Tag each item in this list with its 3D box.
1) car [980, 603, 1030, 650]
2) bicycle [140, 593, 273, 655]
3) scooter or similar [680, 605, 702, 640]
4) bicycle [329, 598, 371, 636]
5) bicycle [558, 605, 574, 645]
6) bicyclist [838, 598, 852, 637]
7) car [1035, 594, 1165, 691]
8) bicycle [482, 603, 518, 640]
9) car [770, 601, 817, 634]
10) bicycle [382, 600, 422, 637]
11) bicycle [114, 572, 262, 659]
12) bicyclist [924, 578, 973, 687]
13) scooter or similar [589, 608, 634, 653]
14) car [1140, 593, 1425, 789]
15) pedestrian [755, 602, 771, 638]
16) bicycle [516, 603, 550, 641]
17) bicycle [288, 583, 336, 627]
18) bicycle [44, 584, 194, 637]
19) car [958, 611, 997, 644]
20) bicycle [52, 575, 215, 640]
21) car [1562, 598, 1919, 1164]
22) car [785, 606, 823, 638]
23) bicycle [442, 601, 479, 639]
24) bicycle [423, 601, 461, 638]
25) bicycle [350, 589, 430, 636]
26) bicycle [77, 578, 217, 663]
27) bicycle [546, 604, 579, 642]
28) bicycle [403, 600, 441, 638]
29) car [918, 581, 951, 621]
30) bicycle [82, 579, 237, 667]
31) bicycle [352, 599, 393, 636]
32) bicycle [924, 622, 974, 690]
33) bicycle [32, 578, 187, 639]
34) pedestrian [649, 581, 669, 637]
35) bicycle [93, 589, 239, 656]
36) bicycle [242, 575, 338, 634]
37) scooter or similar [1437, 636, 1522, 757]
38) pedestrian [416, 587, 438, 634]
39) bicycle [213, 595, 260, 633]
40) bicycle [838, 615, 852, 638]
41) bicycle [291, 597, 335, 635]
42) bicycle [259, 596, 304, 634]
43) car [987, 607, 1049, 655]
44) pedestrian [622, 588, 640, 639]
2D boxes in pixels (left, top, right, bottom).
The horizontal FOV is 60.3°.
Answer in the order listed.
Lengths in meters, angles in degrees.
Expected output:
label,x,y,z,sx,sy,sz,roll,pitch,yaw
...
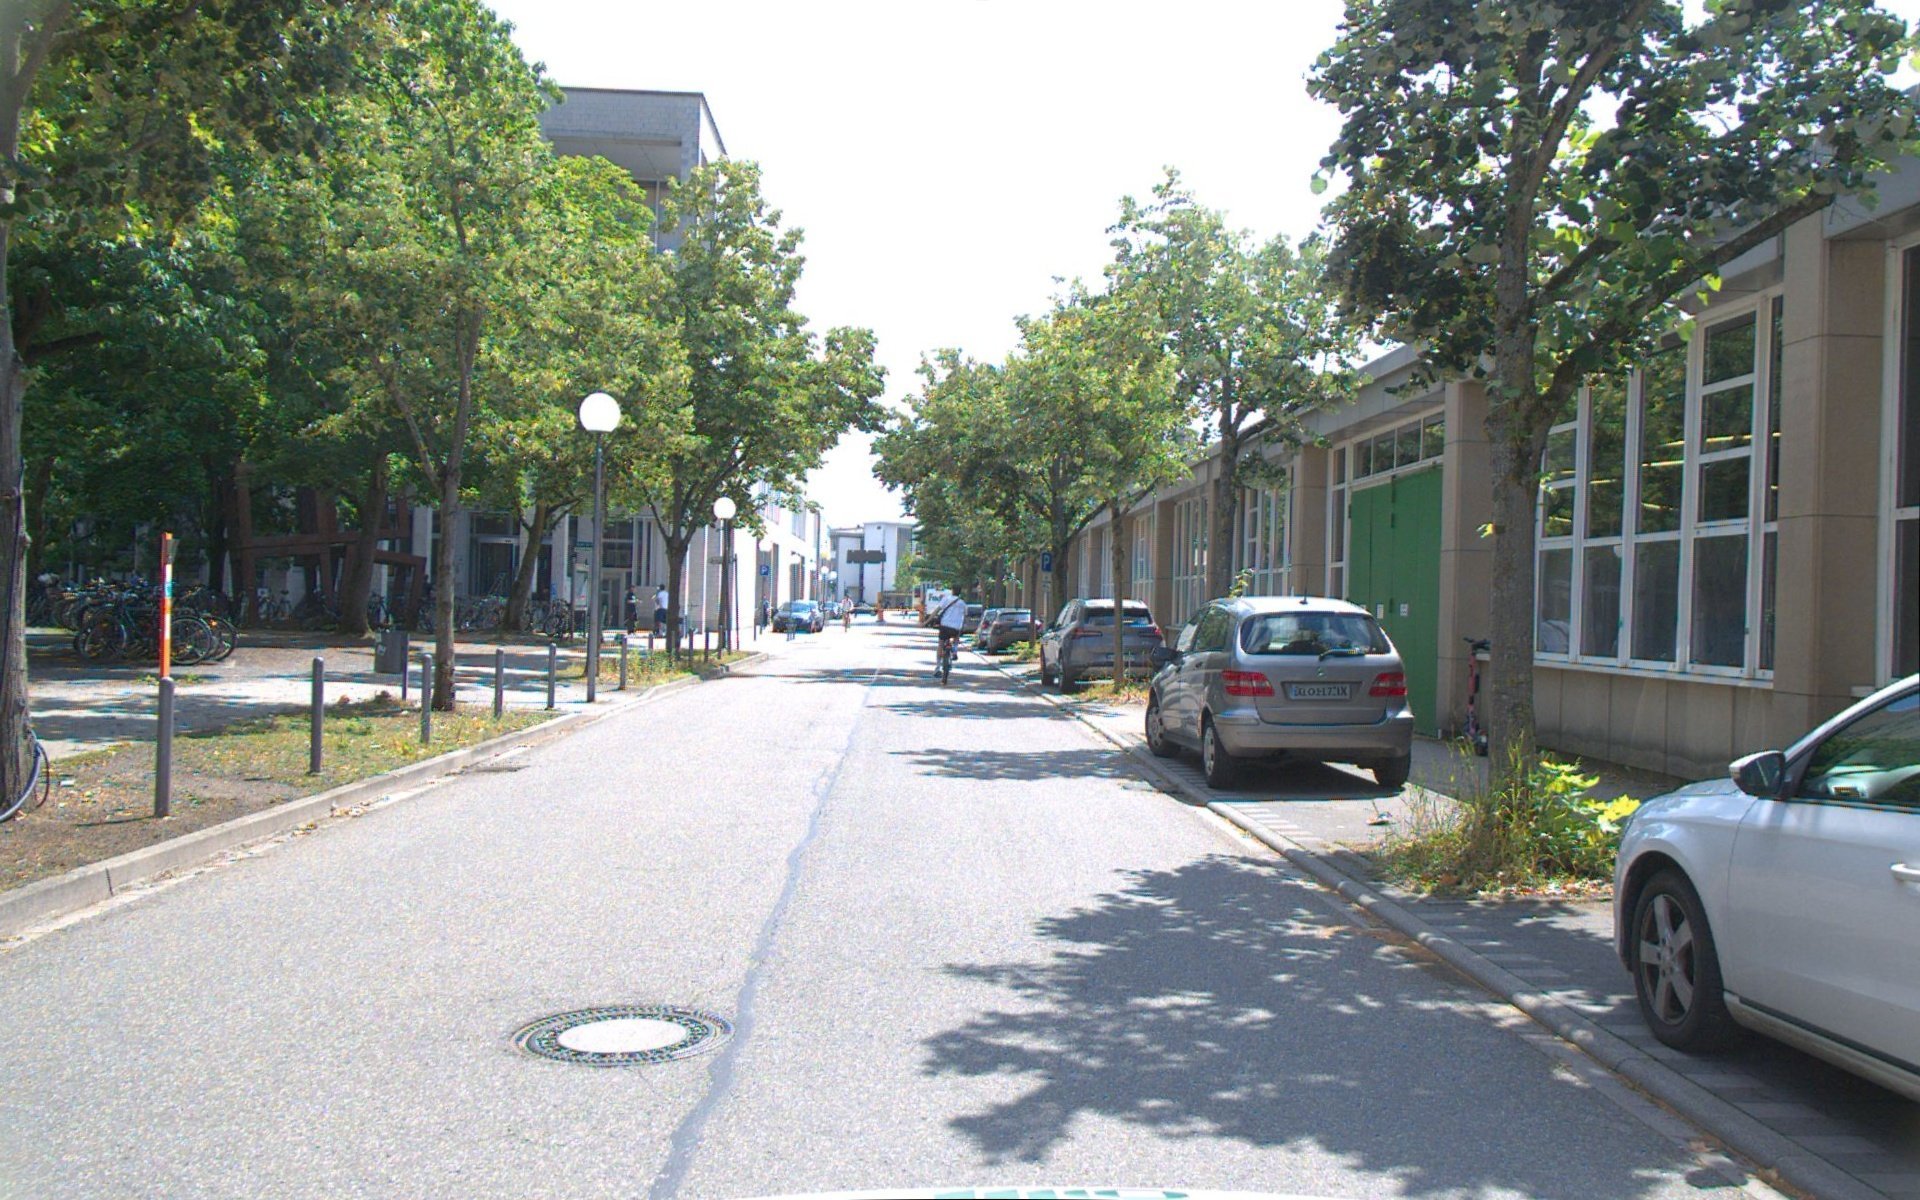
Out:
label,x,y,z,sx,sy,sz,roll,pitch,yaw
car,1.613,0.955,60.327,1.584,1.565,3.778,2,-1,-2
bicycle,-13.832,0.446,30.395,2.127,1.026,0.670,3,-1,-33
scooter or similar,-9.924,0.832,61.082,0.445,1.245,1.549,2,-1,2
bicycle,-18.721,0.514,50.792,0.541,1.105,1.972,4,-1,-2
bicycle,-10.692,0.658,44.881,0.375,1.043,1.808,2,-1,-14
bicyclist,-6.067,0.929,87.422,0.697,2.049,1.018,1,-1,-4
car,2.560,0.793,31.216,1.786,1.693,4.580,1,-1,-4
bicycle,-14.313,0.663,51.507,0.541,1.105,1.972,4,-1,-2
car,-7.800,0.836,77.839,1.730,1.452,4.234,2,-1,0
bicycle,-17.216,0.567,51.087,0.541,1.105,1.972,4,-1,-2
bicycle,-12.482,0.252,26.808,2.023,1.256,0.804,4,-1,-20
bicyclist,-0.220,0.631,32.183,0.856,2.049,0.849,2,-1,-2
scooter or similar,-9.539,0.838,45.318,0.333,1.196,1.324,2,-1,33
car,2.895,0.766,15.723,1.670,1.601,4.137,1,0,-3
pedestrian,-9.606,0.965,80.695,0.638,1.731,0.886,3,-1,-12
bicycle,-13.214,0.683,51.253,0.541,1.105,1.972,4,-1,-2
bicycle,-19.728,0.155,50.418,0.514,1.275,2.381,1,0,-1
bicycle,-17.991,0.237,35.430,2.713,1.020,0.868,3,-1,-45
car,0.853,1.368,82.685,1.821,1.601,3.999,1,-1,-2
bicycle,-17.314,0.165,34.717,2.886,1.242,0.868,3,-1,-45
car,3.396,0.757,4.323,1.691,1.493,4.668,1,0,-4
car,-7.825,1.106,83.226,1.598,1.511,4.176,2,-1,-1
bicycle,-15.427,0.617,51.124,0.541,1.105,1.972,4,-1,-2
bicycle,-15.979,0.599,51.037,0.541,1.105,1.972,4,-1,-2
bicycle,-15.692,0.348,45.558,1.997,1.276,0.580,1,0,-35
bicycle,-11.912,0.303,24.272,1.747,1.151,0.456,3,-1,-20
bicycle,-12.276,0.702,51.097,0.541,1.105,1.972,4,-1,-2
bicycle,-16.573,0.580,50.986,0.541,1.105,1.972,4,-1,-2
car,-1.748,0.066,112.132,2.042,2.584,4.313,3,-1,-2
bicycle,-12.438,0.357,25.757,2.023,1.256,0.804,3,-1,-20
bicycle,-18.035,0.534,50.832,0.541,1.105,1.972,4,-1,-2
bicycle,-0.237,1.056,32.138,0.864,1.220,2.748,2,-1,-2
bicycle,-18.677,0.203,36.387,2.862,1.198,0.868,3,-1,-45
pedestrian,-10.713,0.324,58.793,0.408,1.975,0.656,3,-1,-31
bicycle,-13.336,0.390,27.814,2.126,1.026,0.670,3,-1,-32
bicycle,-17.834,0.139,44.059,2.264,1.475,0.599,3,-1,-35
scooter or similar,5.656,1.025,18.061,0.407,1.239,1.492,1,-1,-2
pedestrian,-19.483,0.367,60.455,0.622,1.690,0.692,2,-1,-13
bicycle,-22.193,0.419,50.777,0.541,1.105,1.972,4,-1,-2
bicycle,-6.068,1.390,87.456,0.671,1.149,1.887,2,-1,-4
bicycle,-19.891,0.486,50.876,0.541,1.105,1.972,4,-1,-2
bicycle,-20.802,0.456,50.746,0.541,1.105,1.972,4,-1,-2
car,1.870,1.012,54.750,1.745,1.502,4.460,0,0,-2
pedestrian,-11.811,0.468,59.326,0.437,1.806,0.446,3,-1,-32
